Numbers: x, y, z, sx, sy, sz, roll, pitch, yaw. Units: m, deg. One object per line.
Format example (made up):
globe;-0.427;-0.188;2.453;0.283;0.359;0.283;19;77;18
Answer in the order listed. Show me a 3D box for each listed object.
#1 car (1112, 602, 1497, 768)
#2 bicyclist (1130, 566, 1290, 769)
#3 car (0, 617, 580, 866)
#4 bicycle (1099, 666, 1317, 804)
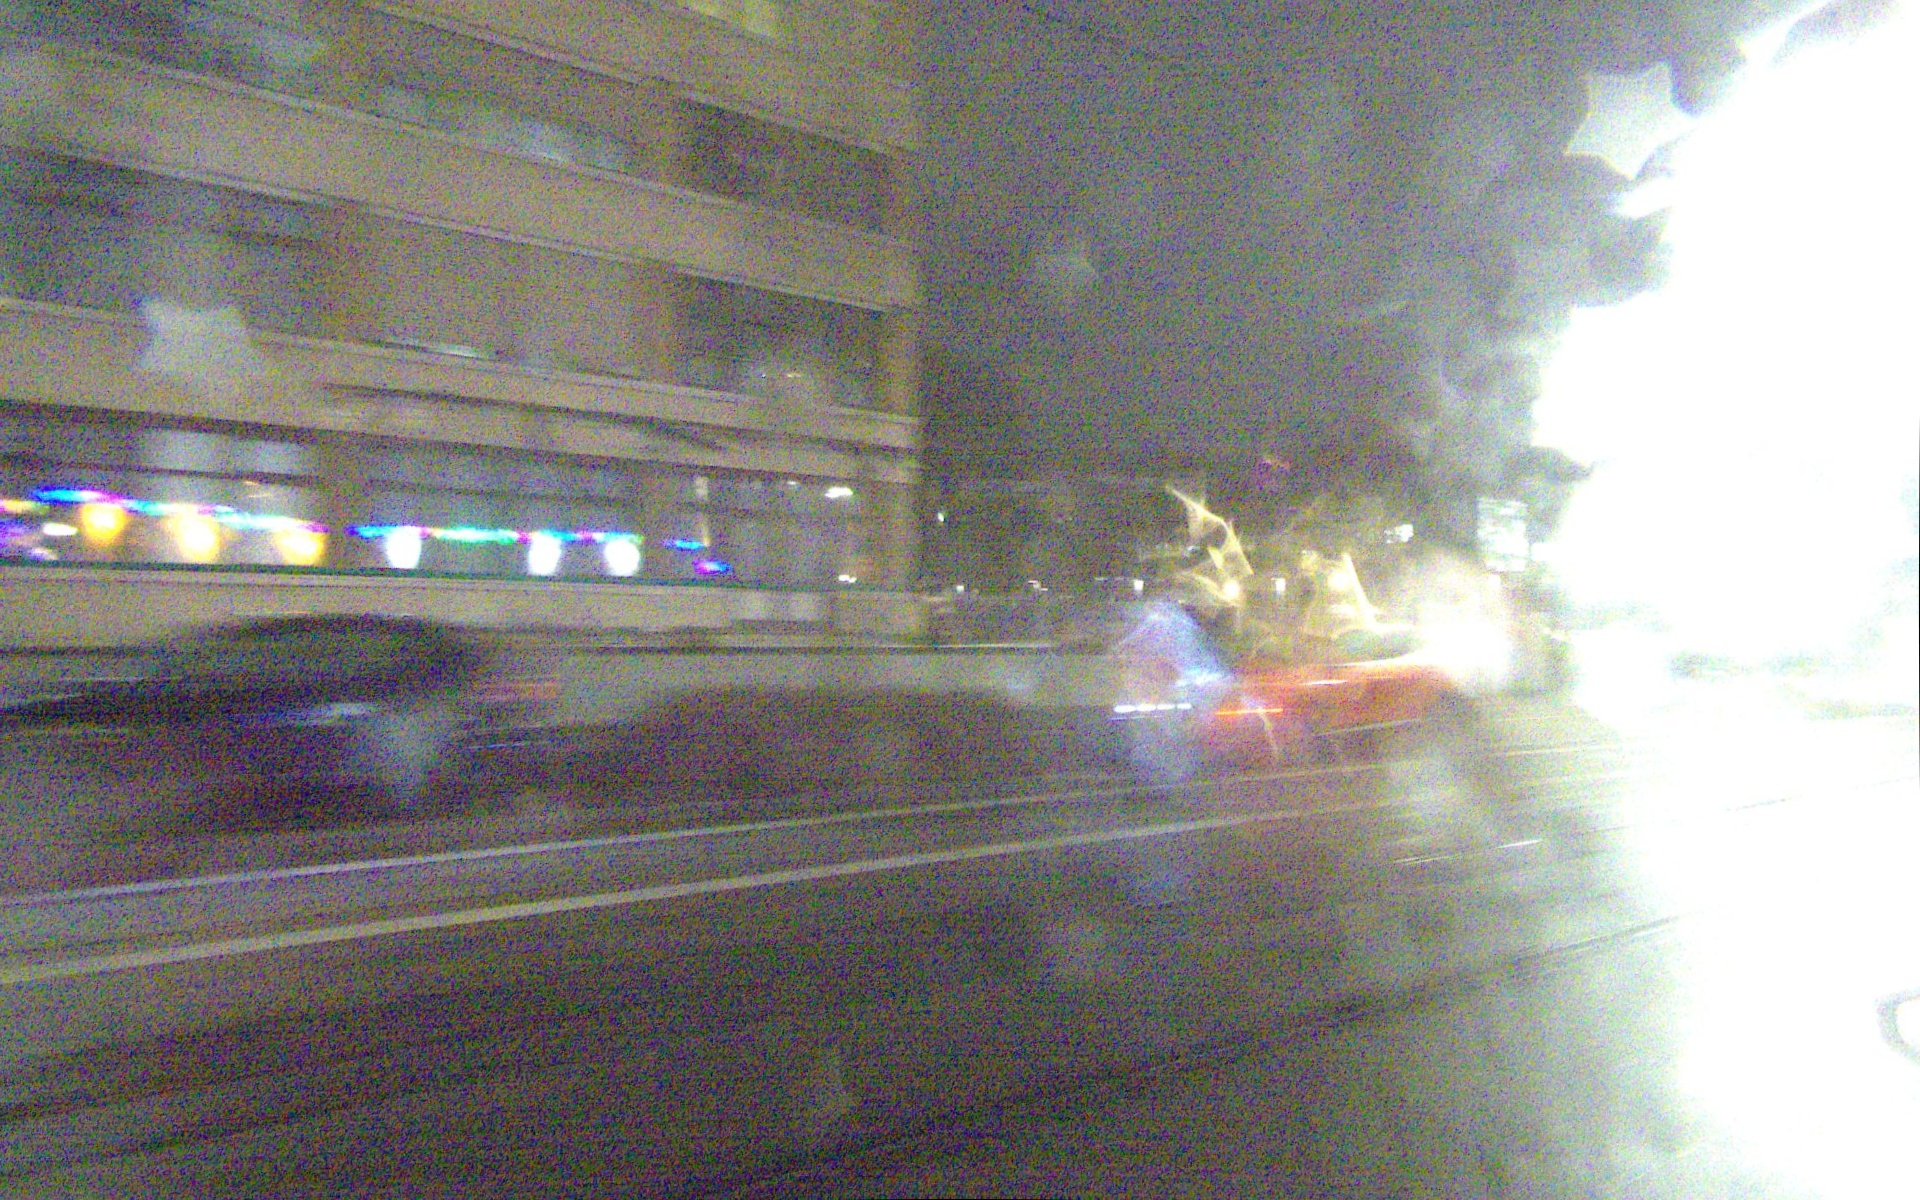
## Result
car;4.331;0.962;12.506;4.545;1.678;1.961;2;1;-29
bicyclist;2.233;0.593;8.982;1.192;1.677;0.779;2;-3;-30
car;-4.956;0.859;7.258;3.873;1.440;1.681;1;-1;-34
bicycle;2.224;1.144;8.956;1.896;1.096;0.779;2;-3;-30
